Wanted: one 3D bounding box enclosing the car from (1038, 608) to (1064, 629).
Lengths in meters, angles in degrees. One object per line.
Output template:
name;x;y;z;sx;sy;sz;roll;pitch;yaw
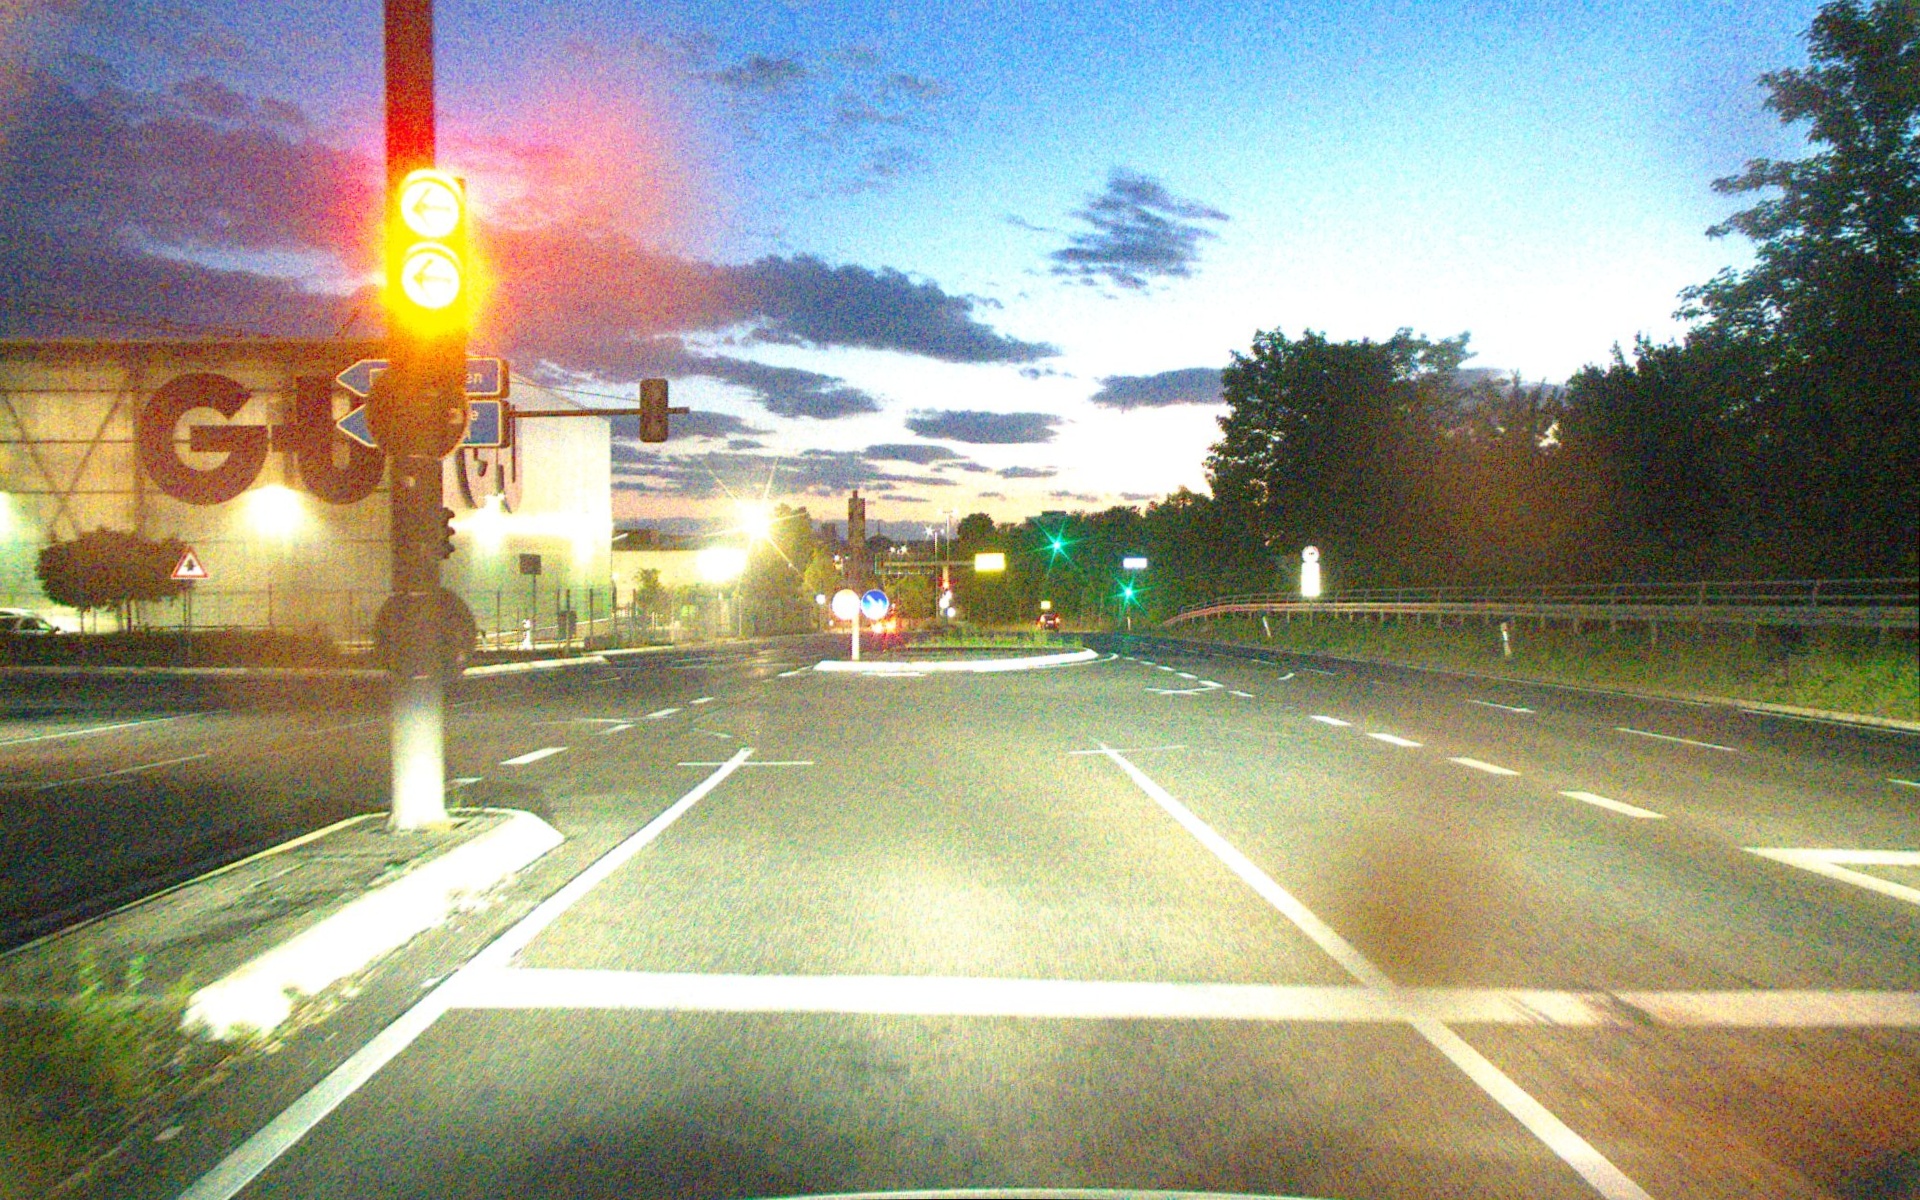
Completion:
car;7.760;1.546;141.699;1.896;1.675;3.999;-1;1;-2

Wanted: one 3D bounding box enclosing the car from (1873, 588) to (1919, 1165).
car;3.386;0.741;2.397;1.722;1.485;4.191;1;1;-2
